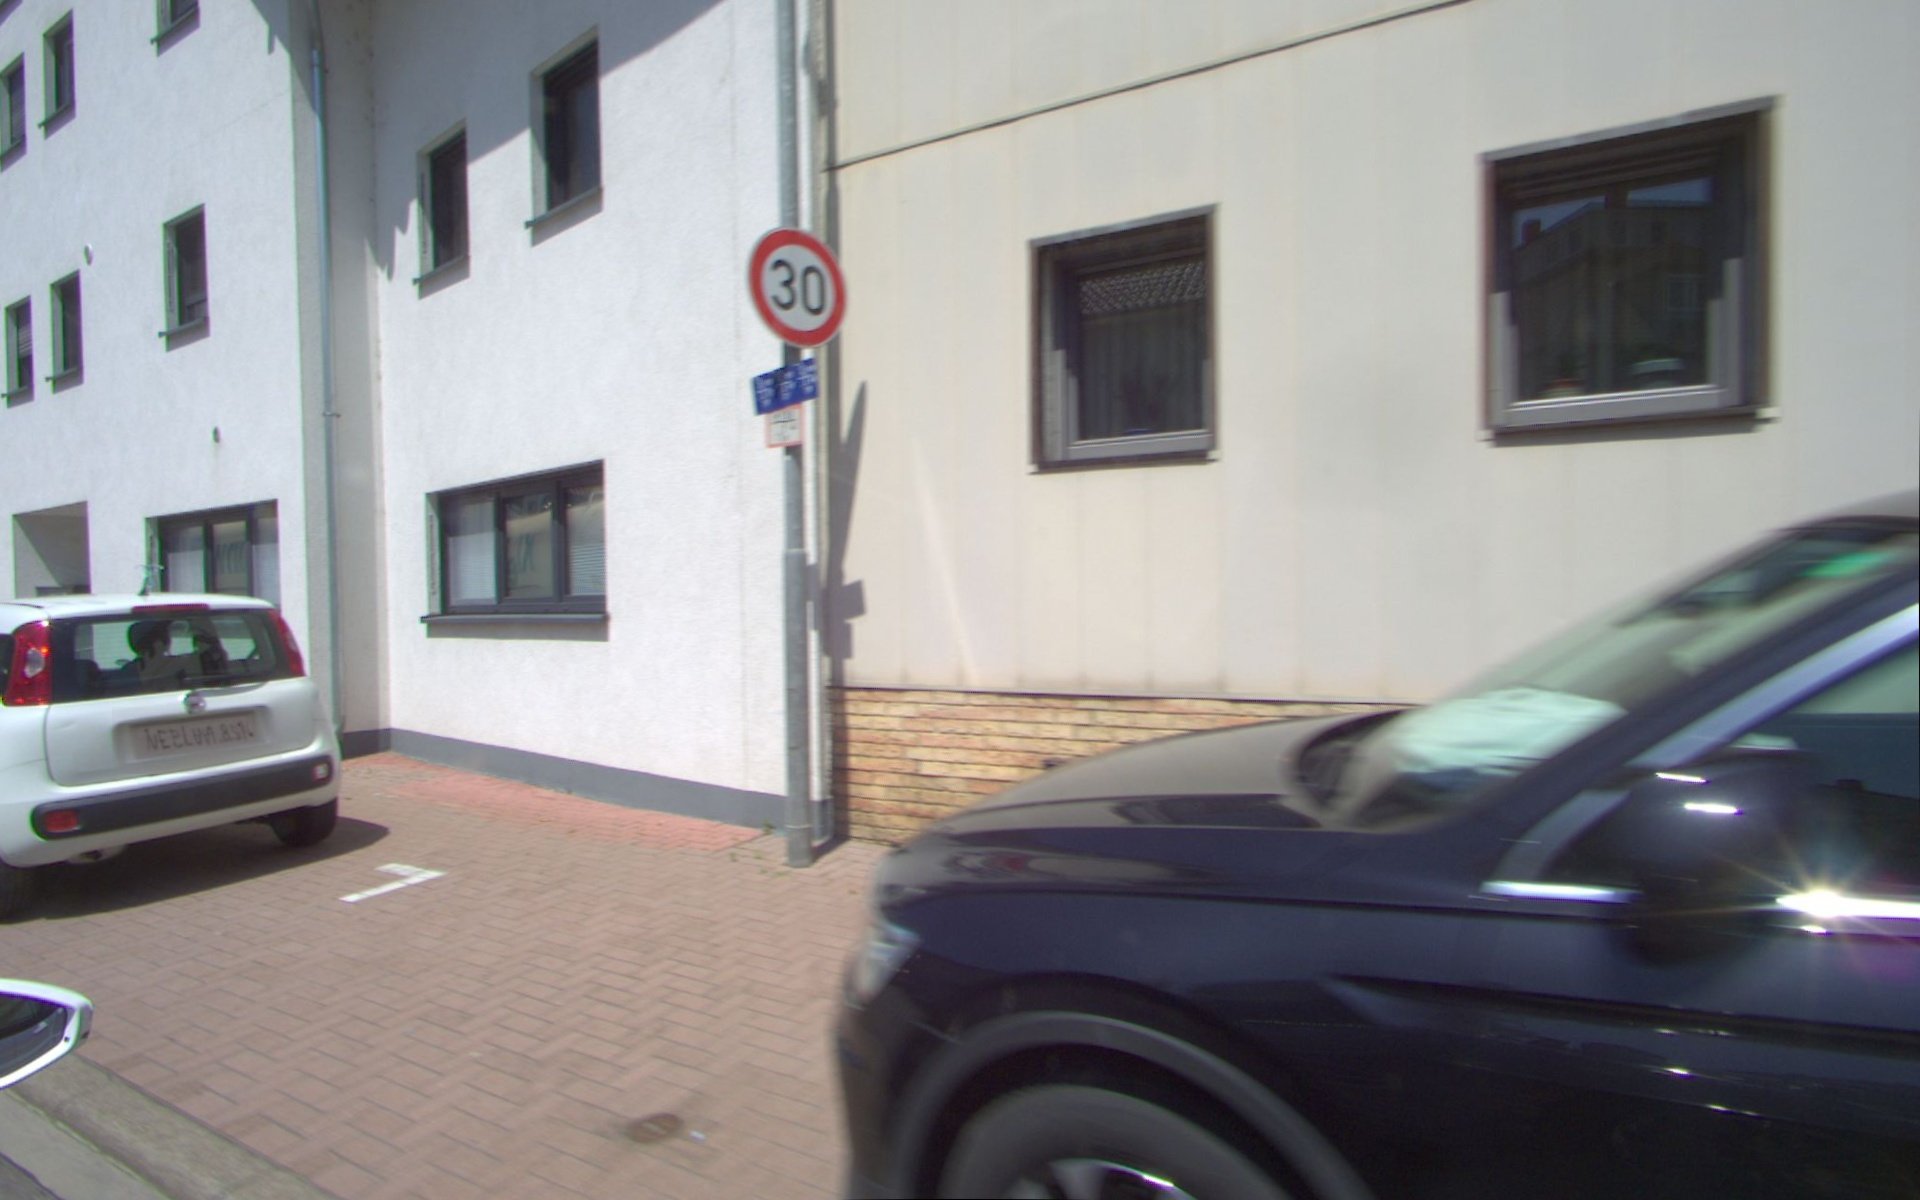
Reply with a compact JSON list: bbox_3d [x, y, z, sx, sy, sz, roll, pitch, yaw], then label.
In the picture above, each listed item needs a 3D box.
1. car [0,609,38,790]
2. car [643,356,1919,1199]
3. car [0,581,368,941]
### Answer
[{"bbox_3d":[-10.167,0.881,8.834,4.766,1.467,1.696,-1,3,32],"label":"car"},{"bbox_3d":[1.792,0.548,1.548,4.480,1.636,1.798,0,2,31],"label":"car"},{"bbox_3d":[-5.355,0.726,5.996,3.493,1.543,1.603,-1,3,32],"label":"car"}]
